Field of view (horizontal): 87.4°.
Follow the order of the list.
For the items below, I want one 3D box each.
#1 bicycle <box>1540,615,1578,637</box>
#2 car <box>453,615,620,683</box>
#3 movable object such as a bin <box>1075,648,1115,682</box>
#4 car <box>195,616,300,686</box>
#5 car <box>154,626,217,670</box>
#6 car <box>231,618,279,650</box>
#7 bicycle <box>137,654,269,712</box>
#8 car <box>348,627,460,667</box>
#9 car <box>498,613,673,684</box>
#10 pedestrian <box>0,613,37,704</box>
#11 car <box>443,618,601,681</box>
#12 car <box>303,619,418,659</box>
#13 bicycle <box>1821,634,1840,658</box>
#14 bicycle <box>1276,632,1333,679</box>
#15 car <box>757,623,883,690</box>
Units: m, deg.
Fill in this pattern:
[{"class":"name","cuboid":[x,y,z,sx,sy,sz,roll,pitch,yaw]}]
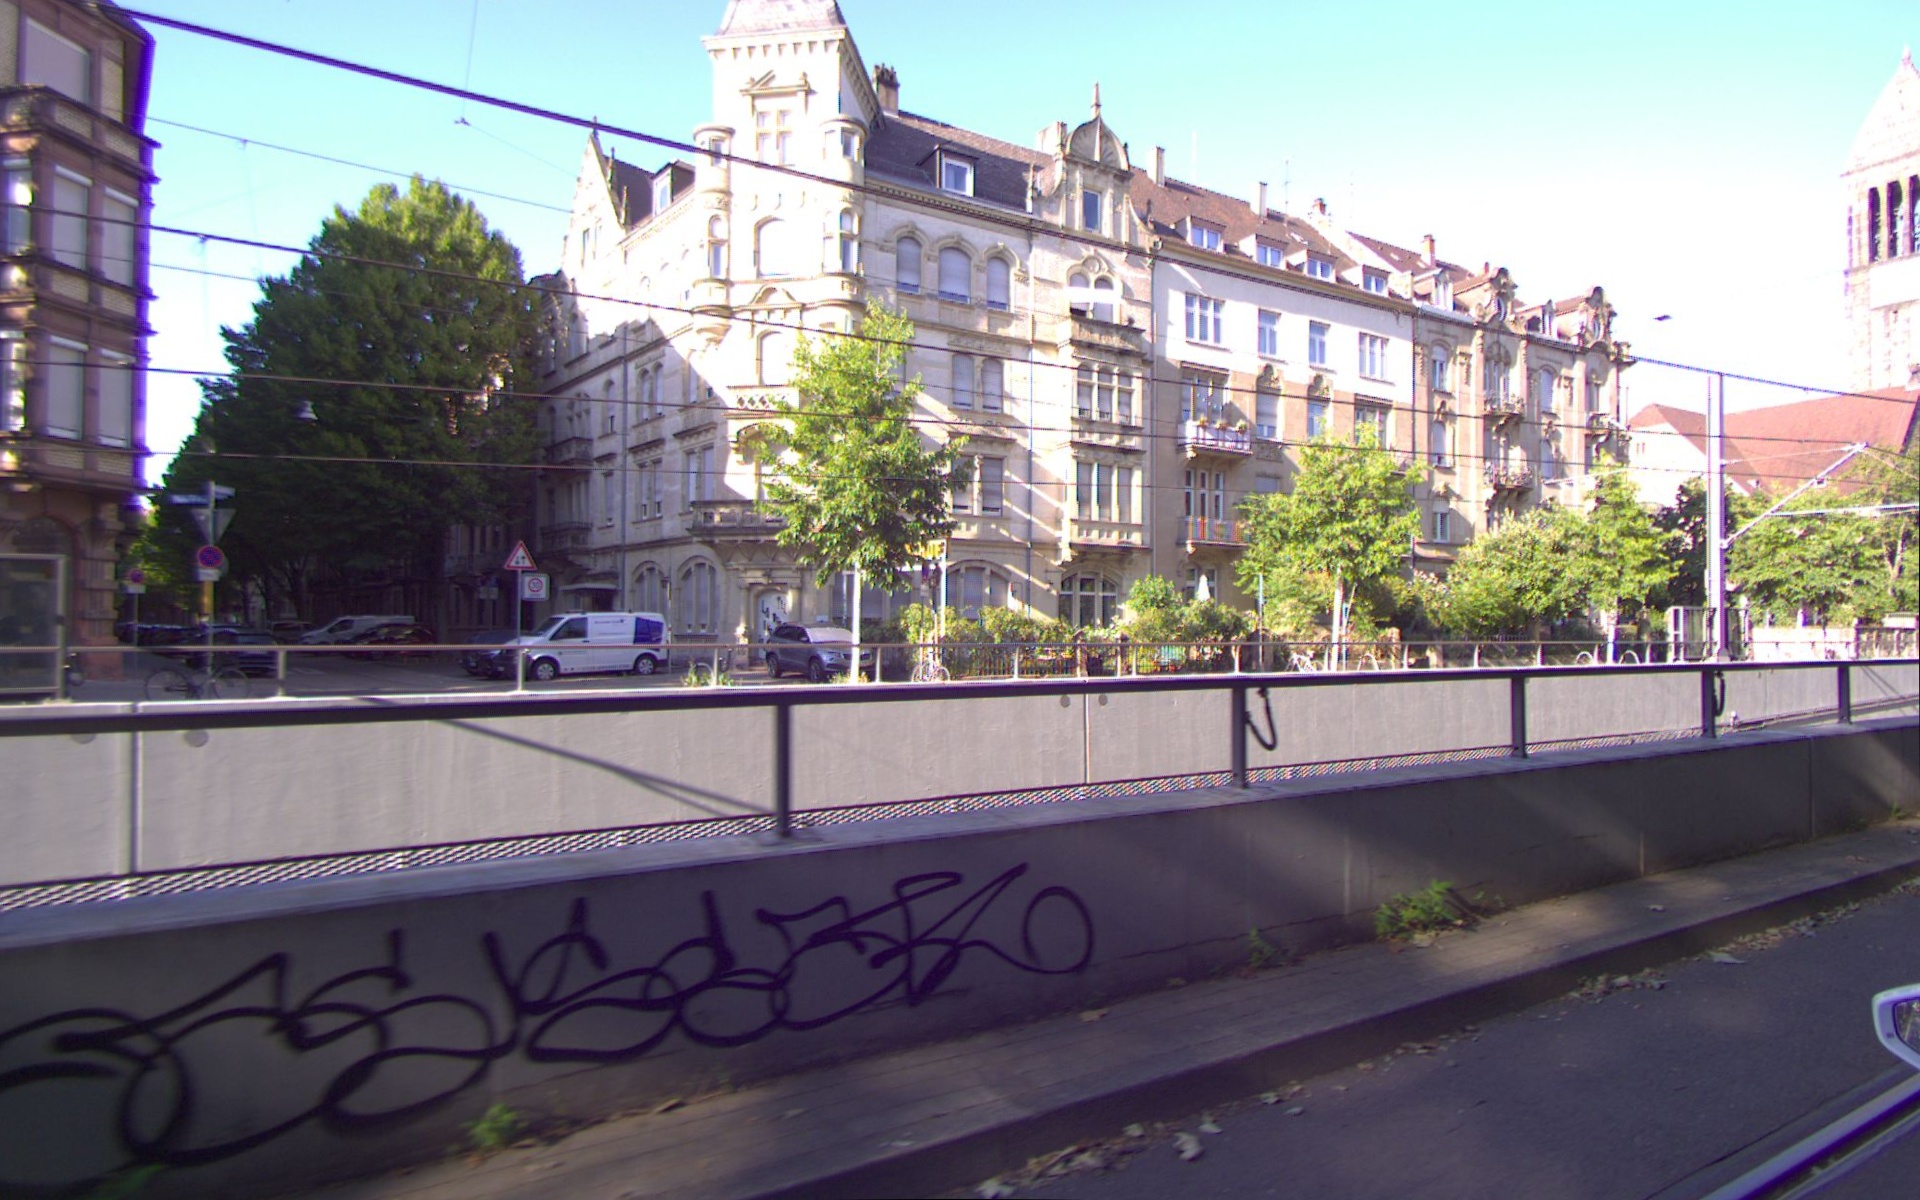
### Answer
[{"class":"bicycle","cuboid":[28.793,1.240,48.297,2.084,1.032,0.503,1,1,-26]},{"class":"car","cuboid":[-13.210,1.461,31.467,4.446,1.874,1.975,1,1,-42]},{"class":"movable object such as a bin","cuboid":[4.045,1.935,30.165,0.776,0.932,0.890,1,1,-35]},{"class":"car","cuboid":[-22.597,1.548,31.793,4.386,1.874,1.988,2,1,45]},{"class":"car","cuboid":[-36.152,2.199,46.872,4.105,1.771,1.788,2,1,45]},{"class":"car","cuboid":[-45.016,2.151,64.130,4.105,1.771,1.788,2,1,45]},{"class":"bicycle","cuboid":[-14.300,1.557,19.047,0.447,1.018,1.941,2,-2,29]},{"class":"car","cuboid":[-25.290,2.105,45.770,4.182,1.627,1.851,1,1,-42]},{"class":"car","cuboid":[-11.031,1.365,29.732,4.446,1.874,1.975,1,1,-42]},{"class":"pedestrian","cuboid":[-18.679,1.129,19.546,0.852,1.711,0.717,1,1,-24]},{"class":"car","cuboid":[-14.622,1.578,33.664,4.446,1.874,1.975,1,1,-42]},{"class":"car","cuboid":[-30.949,1.956,51.949,4.861,1.871,1.850,1,1,-42]},{"class":"bicycle","cuboid":[41.565,2.189,47.986,0.479,1.036,1.886,2,1,36]},{"class":"bicycle","cuboid":[10.091,1.607,29.493,0.591,1.296,1.727,1,-1,-23]},{"class":"car","cuboid":[-4.015,1.534,28.340,1.809,1.646,3.956,1,0,-38]}]
